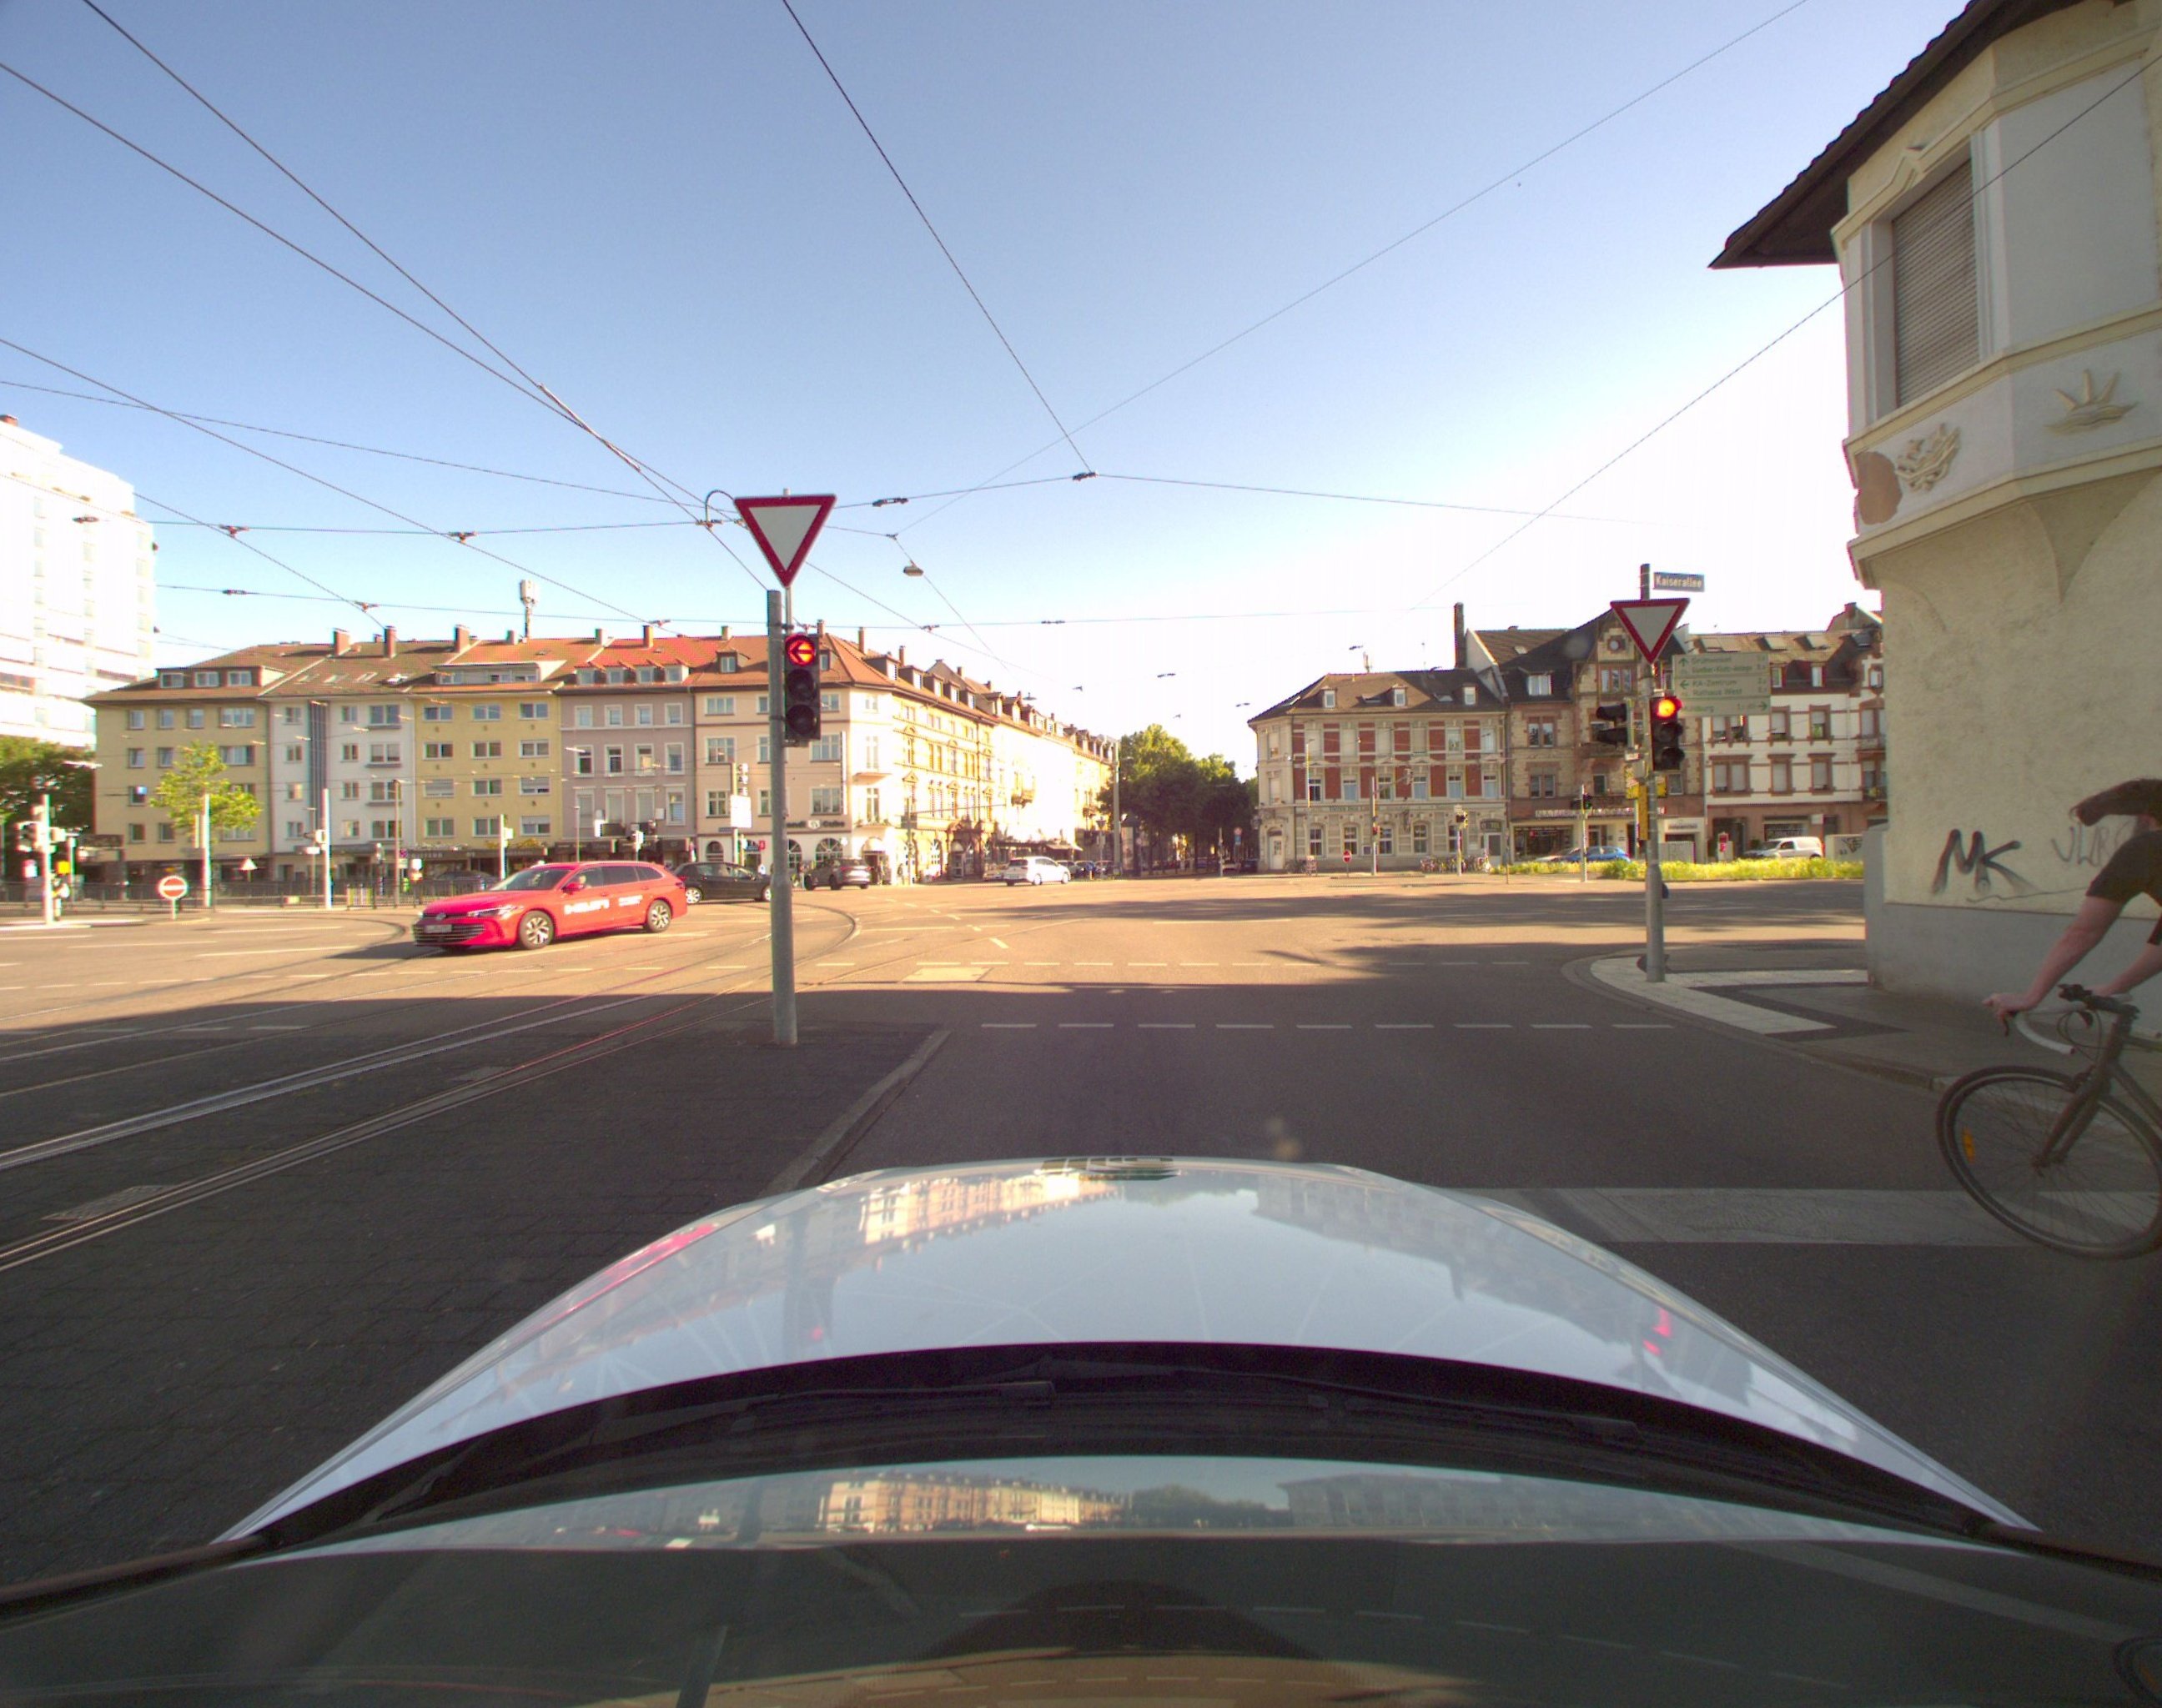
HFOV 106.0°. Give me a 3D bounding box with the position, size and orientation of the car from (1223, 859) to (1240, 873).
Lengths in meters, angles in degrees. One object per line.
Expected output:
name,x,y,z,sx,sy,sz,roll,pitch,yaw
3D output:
car,17.427,1.355,94.128,1.680,1.565,3.855,-1,-1,14

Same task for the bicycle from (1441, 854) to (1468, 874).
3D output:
bicycle,23.991,0.635,52.415,0.626,1.287,2.663,0,-1,3

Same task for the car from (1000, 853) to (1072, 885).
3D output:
car,-2.235,0.717,41.322,1.755,1.530,4.025,-1,-1,30

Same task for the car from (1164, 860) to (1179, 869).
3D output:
car,14.611,1.657,131.605,1.546,1.513,3.673,-1,-1,19

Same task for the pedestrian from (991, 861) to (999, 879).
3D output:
pedestrian,-7.550,1.404,71.527,0.539,1.631,0.709,-1,-1,15

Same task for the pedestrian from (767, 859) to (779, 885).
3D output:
pedestrian,-19.712,1.148,52.137,0.631,1.612,0.465,0,-1,-2

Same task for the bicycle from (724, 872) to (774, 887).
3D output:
bicycle,-23.418,1.788,57.466,3.118,0.980,1.002,0,-1,1

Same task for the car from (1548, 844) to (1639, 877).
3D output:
car,28.349,0.344,45.137,3.769,1.778,2.000,0,-1,1

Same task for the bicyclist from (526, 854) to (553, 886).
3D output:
bicyclist,-23.524,0.684,35.366,0.553,1.366,0.808,-1,-1,33

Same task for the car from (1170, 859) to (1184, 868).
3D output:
car,16.057,1.642,136.083,1.546,1.513,3.673,-1,-1,19

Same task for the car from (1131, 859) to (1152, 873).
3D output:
car,8.406,1.623,112.693,1.977,1.904,4.019,-1,-1,19

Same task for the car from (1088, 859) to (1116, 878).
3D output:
car,2.087,1.405,79.975,1.979,1.904,4.015,-1,-1,14

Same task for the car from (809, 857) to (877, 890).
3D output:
car,-12.500,1.000,42.614,1.963,1.618,4.130,0,-1,-39

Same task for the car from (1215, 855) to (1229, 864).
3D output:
car,23.250,0.921,134.219,1.546,1.513,3.673,-1,-1,19

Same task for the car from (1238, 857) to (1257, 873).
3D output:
car,16.826,1.146,82.362,1.680,1.565,3.855,-1,-1,14

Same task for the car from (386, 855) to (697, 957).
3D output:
car,-9.620,0.828,15.133,1.894,1.522,4.780,-3,0,12

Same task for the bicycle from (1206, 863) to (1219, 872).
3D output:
bicycle,16.002,1.653,98.864,0.630,1.085,1.687,0,-1,-28

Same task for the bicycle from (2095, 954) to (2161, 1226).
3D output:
bicycle,4.492,0.924,2.477,0.647,1.031,1.772,0,-1,3

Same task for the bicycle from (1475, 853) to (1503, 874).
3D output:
bicycle,26.204,0.619,52.354,0.626,1.287,2.663,0,-1,3

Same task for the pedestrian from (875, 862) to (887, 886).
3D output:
pedestrian,-13.718,1.367,55.925,0.631,1.634,0.700,0,-1,-2

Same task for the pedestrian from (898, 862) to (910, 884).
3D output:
pedestrian,-12.792,1.379,58.920,0.539,1.631,0.709,-1,-1,15

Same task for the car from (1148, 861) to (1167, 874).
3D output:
car,11.471,1.950,122.348,1.977,1.904,4.019,-1,-1,19

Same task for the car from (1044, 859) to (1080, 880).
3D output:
car,-1.525,1.265,67.536,1.979,1.618,4.015,-1,-1,14

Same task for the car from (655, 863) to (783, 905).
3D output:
car,-12.735,1.006,28.751,3.872,1.362,1.740,0,-1,-36

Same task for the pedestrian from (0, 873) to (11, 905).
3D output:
pedestrian,-56.391,1.814,42.430,0.523,1.628,0.577,0,-1,0

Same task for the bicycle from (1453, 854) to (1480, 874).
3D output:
bicycle,24.781,0.629,52.387,0.626,1.287,2.663,0,-1,3

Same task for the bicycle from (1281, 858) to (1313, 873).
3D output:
bicycle,15.088,0.810,56.890,2.040,0.998,0.631,0,-1,4

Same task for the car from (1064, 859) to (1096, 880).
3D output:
car,-0.048,1.370,73.791,1.979,1.904,4.015,-1,-1,14

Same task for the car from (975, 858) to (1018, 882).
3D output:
car,-6.947,1.304,67.515,1.977,1.904,4.019,-1,-1,19

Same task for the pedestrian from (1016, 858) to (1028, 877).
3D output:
pedestrian,-4.753,1.106,65.490,0.814,1.512,0.601,-1,-1,16

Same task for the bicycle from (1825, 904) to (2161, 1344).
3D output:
bicycle,3.561,0.827,2.634,0.752,1.236,1.702,0,-1,0

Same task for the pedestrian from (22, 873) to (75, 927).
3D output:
pedestrian,-31.567,1.392,24.906,0.697,1.634,0.681,0,-1,-3

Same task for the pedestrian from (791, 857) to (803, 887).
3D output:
pedestrian,-18.213,1.144,52.185,0.631,1.881,0.465,0,-1,-2

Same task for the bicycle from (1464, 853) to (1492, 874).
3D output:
bicycle,25.509,0.624,52.383,0.626,1.287,2.663,0,-1,3

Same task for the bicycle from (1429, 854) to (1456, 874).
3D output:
bicycle,23.268,0.641,52.422,0.689,1.287,2.663,0,-1,3

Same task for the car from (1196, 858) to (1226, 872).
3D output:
car,18.347,1.566,114.724,3.955,1.904,2.009,-1,-1,17

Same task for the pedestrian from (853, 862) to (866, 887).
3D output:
pedestrian,-14.701,1.336,54.104,0.637,1.634,0.693,0,-1,-34

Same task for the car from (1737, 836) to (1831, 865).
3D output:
car,45.318,-0.224,52.568,4.349,1.778,2.000,0,-1,1

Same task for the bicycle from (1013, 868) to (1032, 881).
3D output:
bicycle,-4.725,1.635,65.558,0.756,1.008,2.406,-1,-1,16

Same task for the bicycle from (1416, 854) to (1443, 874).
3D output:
bicycle,22.426,0.647,52.425,0.689,1.287,2.663,0,-1,3

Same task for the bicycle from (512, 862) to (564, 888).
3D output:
bicycle,-23.557,0.889,35.382,0.567,1.070,1.806,-1,-1,32

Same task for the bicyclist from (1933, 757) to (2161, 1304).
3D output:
bicyclist,3.575,0.518,2.583,0.803,1.606,0.883,0,-1,0

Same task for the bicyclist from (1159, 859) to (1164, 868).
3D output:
bicyclist,11.728,1.431,118.898,0.621,1.266,0.561,-1,-1,18

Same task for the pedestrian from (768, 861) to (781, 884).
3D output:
pedestrian,-19.407,1.159,51.517,0.631,1.477,0.465,0,-1,-2
